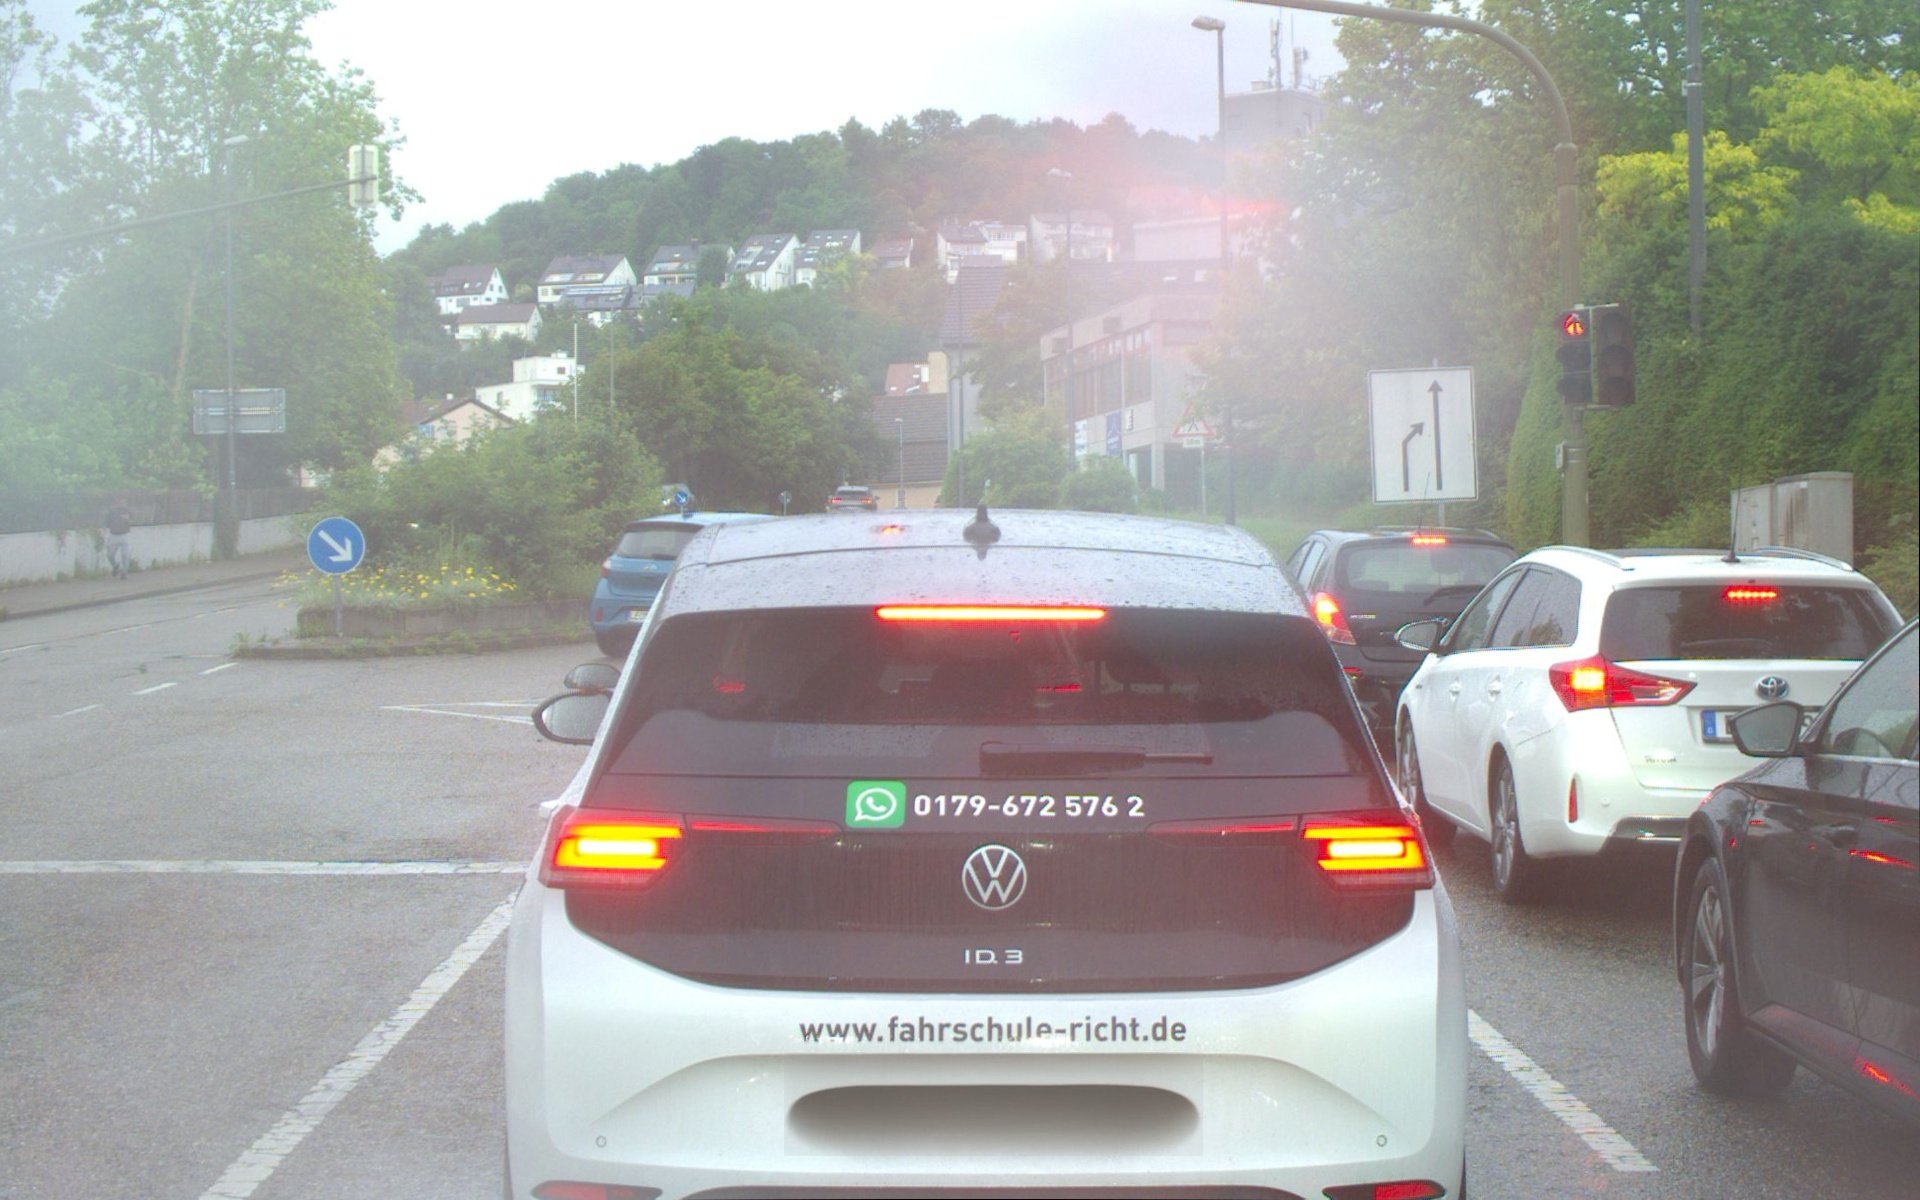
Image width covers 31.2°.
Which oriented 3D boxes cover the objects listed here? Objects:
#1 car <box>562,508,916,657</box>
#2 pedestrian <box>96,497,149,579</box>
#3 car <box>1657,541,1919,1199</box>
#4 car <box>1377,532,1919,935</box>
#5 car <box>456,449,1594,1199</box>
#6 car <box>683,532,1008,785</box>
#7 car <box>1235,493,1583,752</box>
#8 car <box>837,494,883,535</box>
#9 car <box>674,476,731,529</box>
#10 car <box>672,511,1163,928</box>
[{"bbox_3d":[-2.243,-0.211,35.811,1.764,1.413,3.742,0,2,33],"label":"car"},{"bbox_3d":[-16.220,-1.201,66.610,0.760,1.562,0.825,-2,1,-1],"label":"pedestrian"},{"bbox_3d":[2.866,0.637,7.484,1.838,1.461,4.350,1,1,1],"label":"car"},{"bbox_3d":[3.044,0.467,14.974,1.837,1.461,4.117,1,1,-1],"label":"car"},{"bbox_3d":[0.055,0.529,7.936,1.837,1.623,4.616,1,1,-1],"label":"car"},{"bbox_3d":[-0.698,0.296,21.641,1.837,1.395,3.831,1,1,-1],"label":"car"},{"bbox_3d":[2.948,0.114,23.328,1.775,1.576,4.000,1,1,0],"label":"car"},{"bbox_3d":[-4.096,-3.500,141.131,1.775,1.576,4.000,-2,1,0],"label":"car"},{"bbox_3d":[-10.484,-3.959,140.174,1.993,2.007,4.000,1,0,0],"label":"car"},{"bbox_3d":[-0.205,0.405,15.188,1.837,1.549,4.175,1,1,-1],"label":"car"}]
